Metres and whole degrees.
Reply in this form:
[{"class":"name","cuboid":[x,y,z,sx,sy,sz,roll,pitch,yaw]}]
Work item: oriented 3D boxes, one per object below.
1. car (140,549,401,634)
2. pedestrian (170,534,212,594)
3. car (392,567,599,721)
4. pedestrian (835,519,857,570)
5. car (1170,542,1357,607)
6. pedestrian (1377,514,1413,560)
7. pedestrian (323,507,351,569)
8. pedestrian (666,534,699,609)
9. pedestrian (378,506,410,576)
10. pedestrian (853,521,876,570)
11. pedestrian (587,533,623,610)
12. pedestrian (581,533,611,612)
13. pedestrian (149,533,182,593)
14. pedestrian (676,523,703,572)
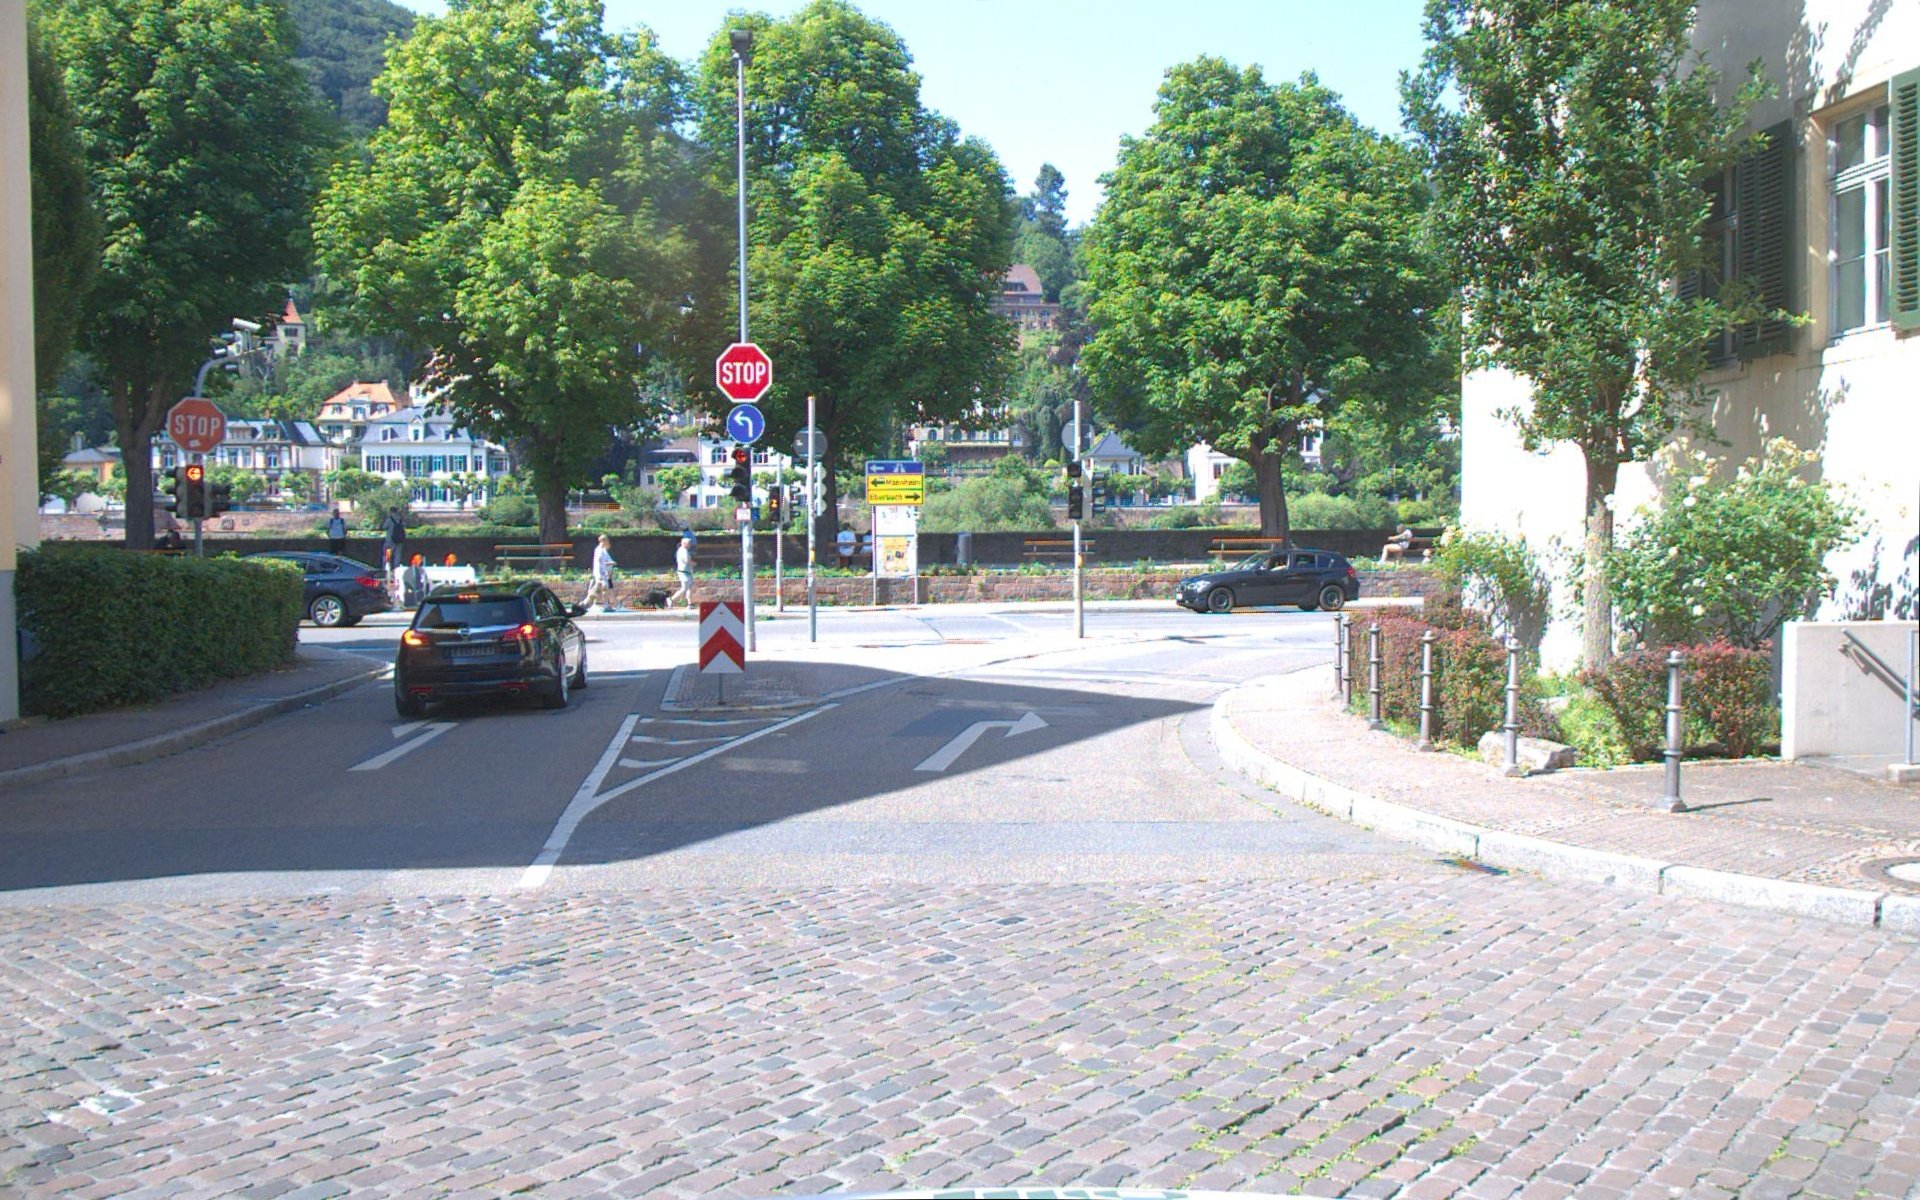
[{"class":"car","cuboid":[-14.410,-0.197,34.827,4.675,1.544,1.902,-3,1,-9]},{"class":"pedestrian","cuboid":[-19.577,-0.932,42.145,0.458,1.505,1.384,-1,2,-3]},{"class":"car","cuboid":[-5.418,0.416,19.845,1.682,1.487,4.717,-3,2,-8]},{"class":"pedestrian","cuboid":[-3.076,-1.487,44.413,0.542,1.302,0.703,1,-1,-6]},{"class":"car","cuboid":[7.005,-0.600,38.375,3.911,1.443,1.872,-1,2,-7]},{"class":"pedestrian","cuboid":[12.267,-1.762,46.681,0.782,1.232,0.715,1,-1,-4]},{"class":"pedestrian","cuboid":[-17.888,-1.769,47.520,0.697,1.762,0.753,0,1,-18]},{"class":"pedestrian","cuboid":[-6.789,-0.691,40.470,0.674,1.800,0.717,-2,1,-4]},{"class":"pedestrian","cuboid":[-15.512,-1.601,45.313,0.753,1.890,0.751,-1,1,-25]},{"class":"pedestrian","cuboid":[-2.575,-1.463,44.650,0.542,1.249,0.984,1,-1,-7]},{"class":"pedestrian","cuboid":[-8.638,-0.693,40.283,0.708,1.833,0.633,-2,1,-5]},{"class":"pedestrian","cuboid":[-8.612,-0.651,39.174,0.566,1.833,0.705,-1,1,-5]},{"class":"pedestrian","cuboid":[-20.093,-0.939,41.849,0.458,1.519,0.804,-1,2,-3]},{"class":"pedestrian","cuboid":[-7.117,-1.383,43.560,0.631,1.249,0.412,-1,1,-18]}]
